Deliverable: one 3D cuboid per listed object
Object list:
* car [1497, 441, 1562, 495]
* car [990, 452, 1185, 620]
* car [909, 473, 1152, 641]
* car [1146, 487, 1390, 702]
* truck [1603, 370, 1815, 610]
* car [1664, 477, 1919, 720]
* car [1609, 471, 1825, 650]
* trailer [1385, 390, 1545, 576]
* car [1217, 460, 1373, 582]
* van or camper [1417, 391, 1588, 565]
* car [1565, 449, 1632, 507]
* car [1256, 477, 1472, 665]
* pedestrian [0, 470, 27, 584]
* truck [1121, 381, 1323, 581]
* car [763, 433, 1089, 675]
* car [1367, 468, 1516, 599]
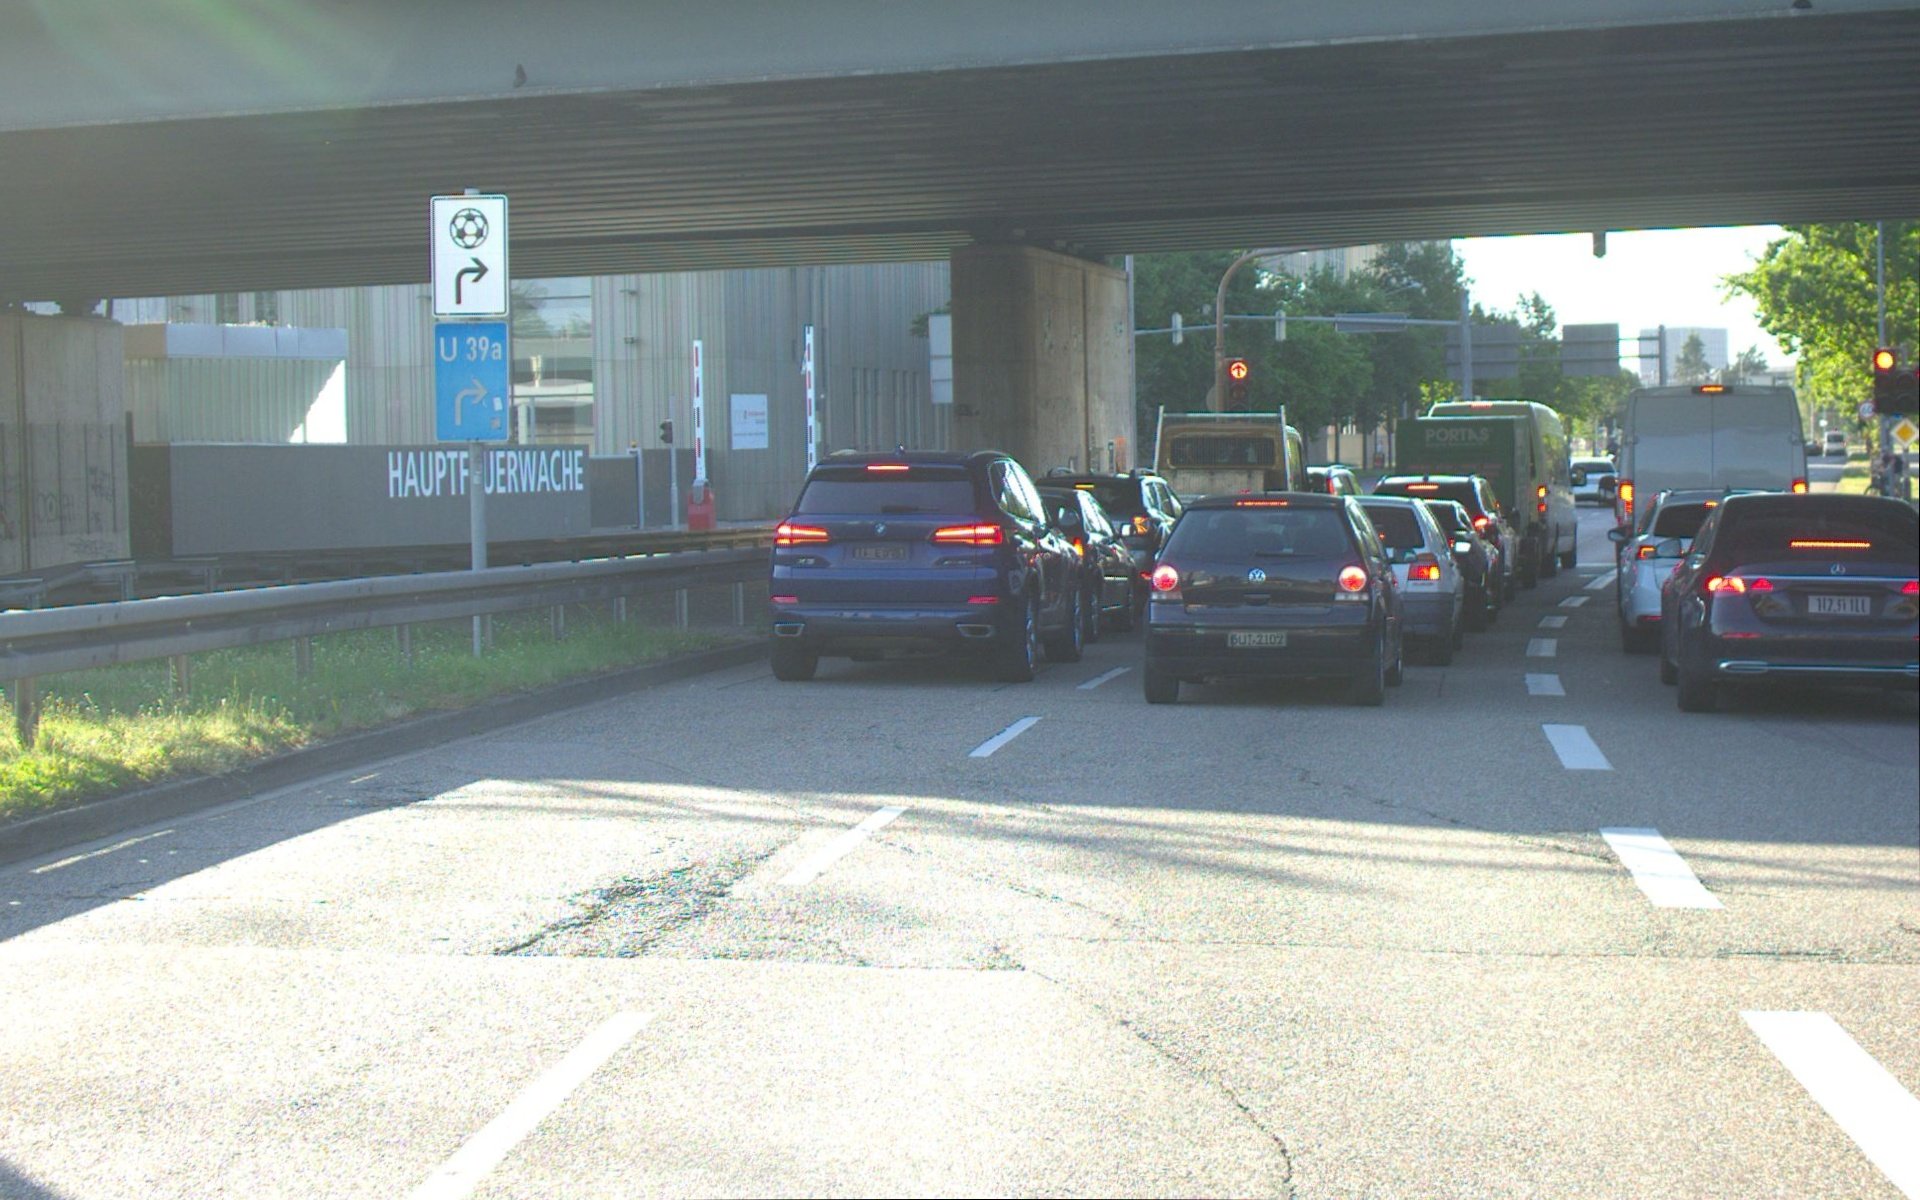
[{"bbox_3d":[17.606,-4.070,106.227,1.801,1.599,3.738,0,1,12],"label":"car"},{"bbox_3d":[1.511,-0.733,39.258,1.841,1.713,3.999,-3,1,6],"label":"car"},{"bbox_3d":[0.748,-0.441,33.497,1.842,1.435,3.674,-3,1,8],"label":"car"},{"bbox_3d":[2.253,-0.079,24.461,1.582,1.404,3.831,0,1,7],"label":"car"},{"bbox_3d":[8.437,-1.232,39.037,2.112,2.511,4.399,-2,1,10],"label":"truck"},{"bbox_3d":[5.902,-0.093,23.890,1.741,1.449,4.605,0,3,9],"label":"car"},{"bbox_3d":[6.831,-0.379,31.270,1.773,1.490,3.830,-1,1,11],"label":"car"},{"bbox_3d":[7.131,-1.620,48.248,1.865,2.456,3.830,-1,1,13],"label":"trailer"},{"bbox_3d":[5.481,-1.280,55.812,1.995,1.894,3.998,0,1,13],"label":"car"},{"bbox_3d":[8.542,-1.871,53.708,1.995,2.561,5.914,0,1,15],"label":"van or camper"},{"bbox_3d":[18.716,-3.553,100.636,1.801,1.599,3.998,0,1,12],"label":"car"},{"bbox_3d":[3.505,-0.291,29.422,1.548,1.418,3.416,-3,2,10],"label":"car"},{"bbox_3d":[-16.028,-1.215,57.242,0.694,1.897,0.664,0,1,13],"label":"pedestrian"},{"bbox_3d":[3.647,-1.592,46.865,2.029,2.548,5.535,0,1,12],"label":"truck"},{"bbox_3d":[-0.169,-0.378,27.015,1.830,1.732,4.460,0,1,9],"label":"car"},{"bbox_3d":[5.933,-0.824,42.096,1.582,1.527,3.830,0,1,11],"label":"car"}]
